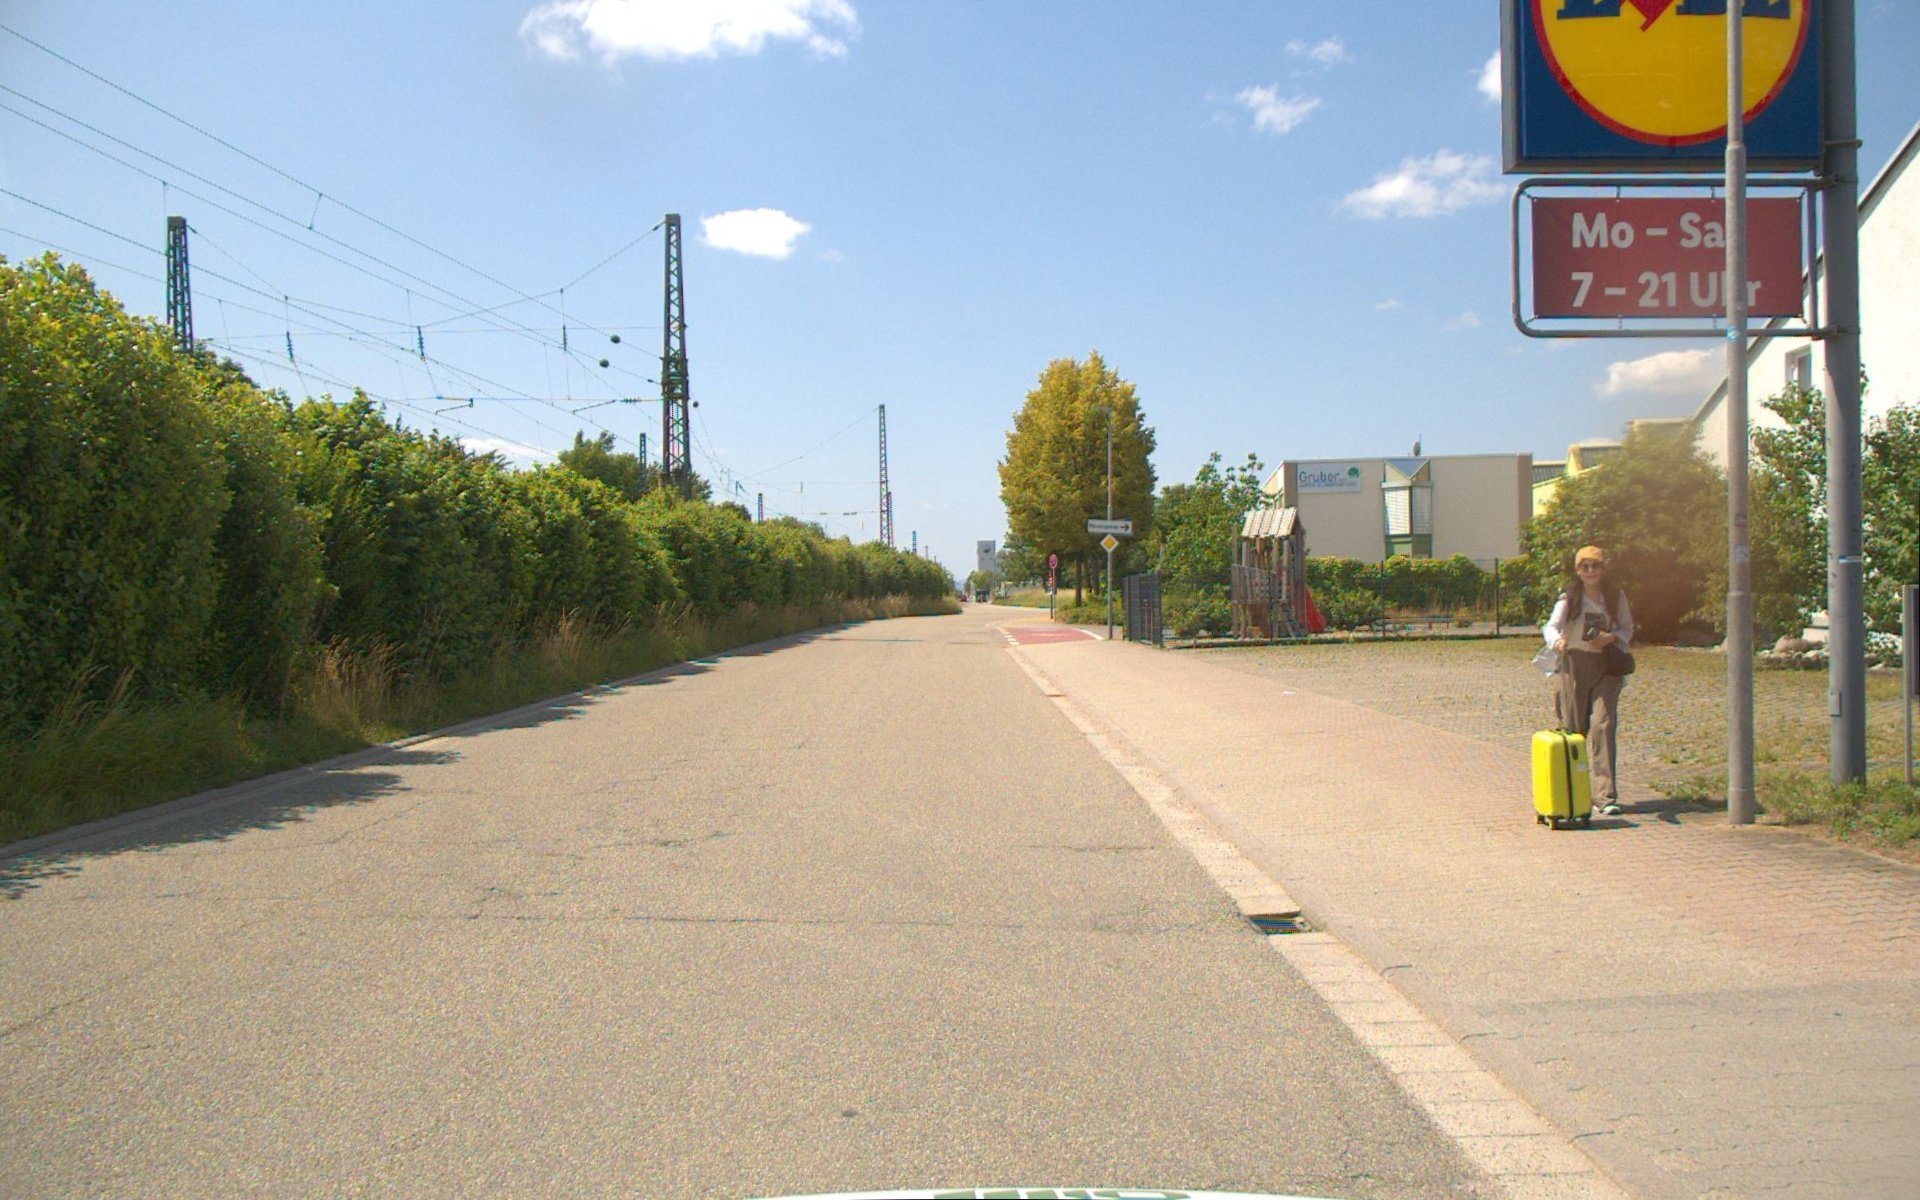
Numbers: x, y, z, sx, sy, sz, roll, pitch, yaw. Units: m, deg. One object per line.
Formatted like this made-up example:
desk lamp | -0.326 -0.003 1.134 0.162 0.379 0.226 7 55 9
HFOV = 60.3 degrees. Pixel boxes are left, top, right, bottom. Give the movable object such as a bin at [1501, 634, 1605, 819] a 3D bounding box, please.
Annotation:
movable object such as a bin | 3.528 0.740 9.859 0.367 1.047 0.498 -3 0 -4

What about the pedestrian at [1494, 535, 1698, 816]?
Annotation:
pedestrian | 3.919 0.434 10.282 0.746 1.630 1.209 -1 0 -3
